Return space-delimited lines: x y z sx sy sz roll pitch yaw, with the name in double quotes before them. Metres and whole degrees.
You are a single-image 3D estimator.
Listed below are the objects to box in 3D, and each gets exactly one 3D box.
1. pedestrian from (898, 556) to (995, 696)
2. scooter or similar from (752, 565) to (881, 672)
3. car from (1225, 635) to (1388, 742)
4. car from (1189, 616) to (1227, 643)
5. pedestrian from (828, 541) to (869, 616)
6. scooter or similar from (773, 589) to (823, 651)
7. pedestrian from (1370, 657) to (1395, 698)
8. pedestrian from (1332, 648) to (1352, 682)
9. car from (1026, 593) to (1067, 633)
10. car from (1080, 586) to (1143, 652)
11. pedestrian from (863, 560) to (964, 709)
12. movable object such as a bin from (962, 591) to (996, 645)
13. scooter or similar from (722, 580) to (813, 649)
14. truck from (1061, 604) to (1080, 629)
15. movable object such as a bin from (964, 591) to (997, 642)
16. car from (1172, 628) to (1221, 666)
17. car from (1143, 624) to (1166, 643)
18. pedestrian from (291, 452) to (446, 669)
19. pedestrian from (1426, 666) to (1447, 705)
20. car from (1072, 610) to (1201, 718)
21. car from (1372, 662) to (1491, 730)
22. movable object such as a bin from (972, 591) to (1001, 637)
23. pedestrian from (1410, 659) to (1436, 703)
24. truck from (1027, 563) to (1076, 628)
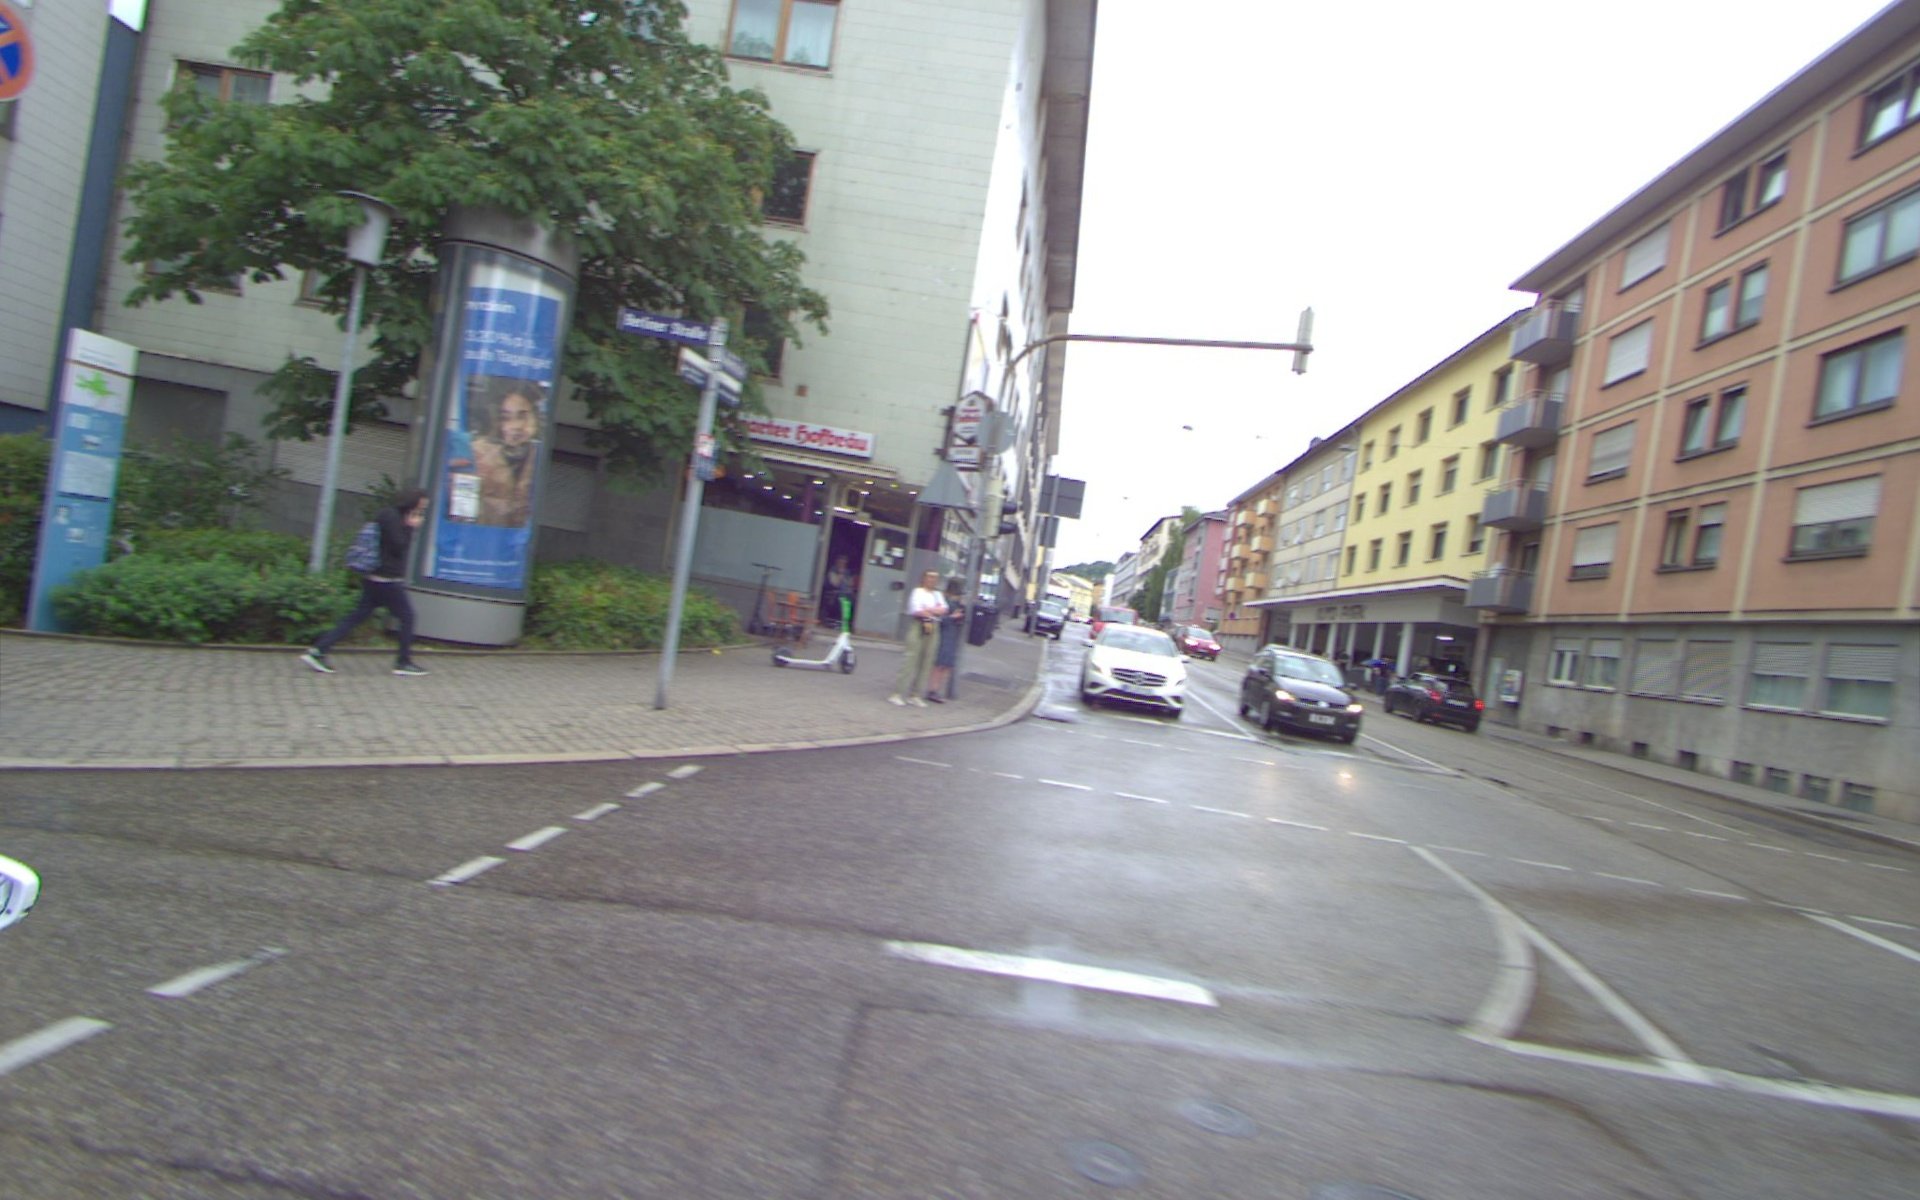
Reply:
"pedestrian" -0.186 0.336 13.205 0.703 1.668 0.752 9 4 -31
"scooter or similar" -1.996 0.262 14.043 1.544 1.203 0.498 11 -1 -25
"car" 6.347 1.563 18.924 1.815 1.507 4.002 8 -1 5
"car" 18.958 2.294 77.181 1.985 1.579 5.161 11 -2 7
"pedestrian" -2.254 -0.419 20.379 0.511 1.415 0.579 10 0 1
"scooter or similar" -2.574 0.299 15.907 0.454 0.852 1.317 11 -1 -18
"pedestrian" 17.003 3.104 40.524 0.512 1.539 0.568 10 4 5
"pedestrian" 18.736 3.191 49.314 0.512 1.577 0.568 10 4 5
"car" 4.222 0.678 49.535 1.697 1.621 4.002 9 -1 4
"car" 6.189 0.817 41.554 2.033 2.267 4.623 8 -1 6
"pedestrian" -0.581 0.424 12.457 0.703 1.668 0.752 9 4 -31
"movable object such as a bin" 0.523 0.508 27.252 0.687 1.330 0.783 10 -1 4
"scooter or similar" -3.078 0.223 16.047 1.445 0.852 0.548 10 -1 42
"truck" 20.588 3.140 187.714 2.764 3.874 8.154 10 -1 7
"movable object such as a bin" 0.595 0.489 29.095 0.687 1.330 0.783 10 -1 4
"car" 12.701 2.519 54.194 1.815 1.693 4.003 9 -1 6
"car" 21.083 3.629 109.111 1.985 1.579 4.005 11 -2 7
"pedestrian" -5.458 -0.354 9.285 0.902 1.842 0.752 10 4 33
"pedestrian" 18.131 3.261 38.309 0.358 1.417 0.369 10 4 5
"car" 3.134 1.109 18.614 1.815 1.531 4.002 8 -1 5
"car" 13.777 2.759 29.645 1.635 1.438 4.072 8 0 4
"movable object such as a bin" 0.838 0.462 31.802 0.687 1.330 0.783 10 -1 4
"pedestrian" 17.641 3.077 38.331 0.472 1.587 0.557 10 4 5
"truck" 6.821 -0.233 74.289 2.764 3.874 8.154 10 -1 7
